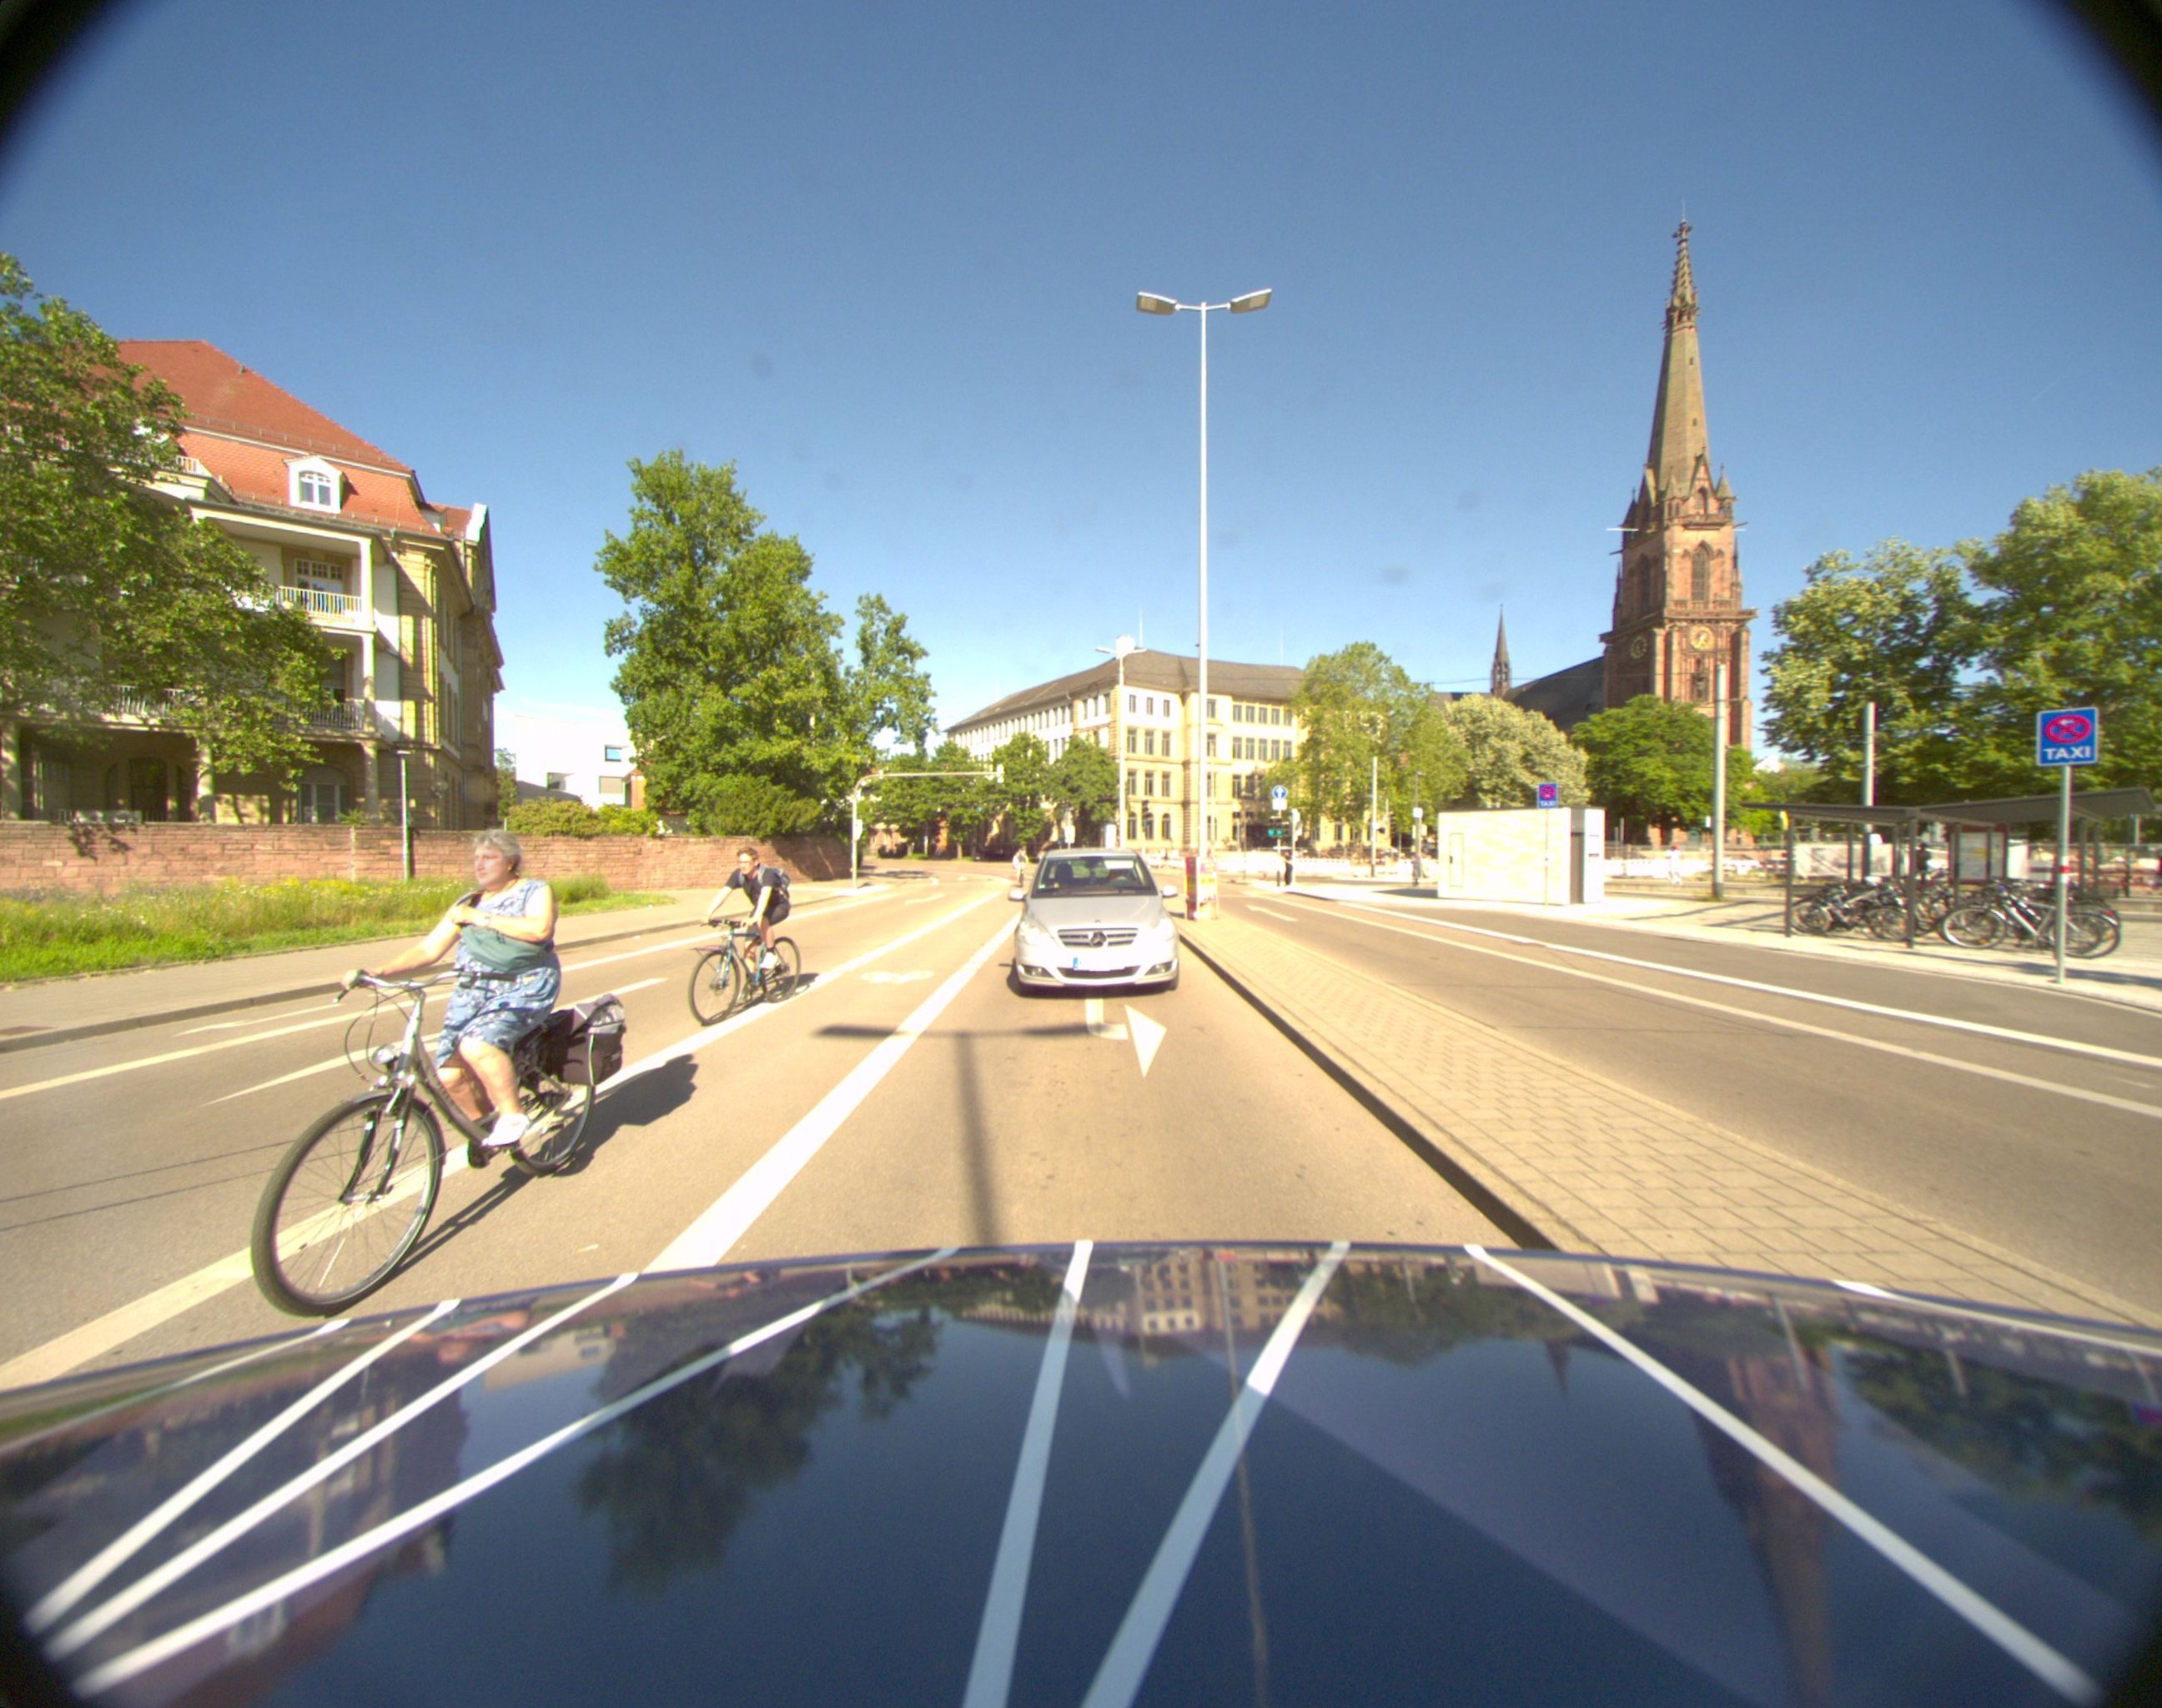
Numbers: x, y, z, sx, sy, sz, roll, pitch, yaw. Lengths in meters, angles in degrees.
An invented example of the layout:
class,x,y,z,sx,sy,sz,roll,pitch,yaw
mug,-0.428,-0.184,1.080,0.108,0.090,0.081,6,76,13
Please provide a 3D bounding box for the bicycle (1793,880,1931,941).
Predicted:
class,x,y,z,sx,sy,sz,roll,pitch,yaw
bicycle,15.092,1.061,14.736,0.569,1.032,1.783,0,1,-37

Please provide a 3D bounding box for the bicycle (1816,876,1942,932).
class,x,y,z,sx,sy,sz,roll,pitch,yaw
bicycle,17.102,1.042,16.322,0.569,1.032,1.783,0,1,-37

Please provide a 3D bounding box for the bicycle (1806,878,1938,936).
class,x,y,z,sx,sy,sz,roll,pitch,yaw
bicycle,16.137,1.045,15.548,0.569,1.032,1.783,0,1,-37

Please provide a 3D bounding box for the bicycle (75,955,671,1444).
class,x,y,z,sx,sy,sz,roll,pitch,yaw
bicycle,-2.612,1.153,3.223,0.642,1.158,1.967,-1,1,0

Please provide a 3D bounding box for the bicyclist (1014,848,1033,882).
class,x,y,z,sx,sy,sz,roll,pitch,yaw
bicyclist,-2.656,0.495,34.952,0.778,1.543,0.919,-1,1,0

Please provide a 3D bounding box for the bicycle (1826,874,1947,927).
class,x,y,z,sx,sy,sz,roll,pitch,yaw
bicycle,18.095,1.015,17.106,0.569,1.032,1.783,0,1,-37

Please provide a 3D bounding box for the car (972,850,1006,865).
class,x,y,z,sx,sy,sz,roll,pitch,yaw
car,-11.442,0.392,94.588,1.994,1.805,3.809,1,1,43

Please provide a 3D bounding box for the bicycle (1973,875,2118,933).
class,x,y,z,sx,sy,sz,roll,pitch,yaw
bicycle,19.731,0.990,15.589,0.569,1.032,1.783,0,1,-37

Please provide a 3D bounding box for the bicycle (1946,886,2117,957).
class,x,y,z,sx,sy,sz,roll,pitch,yaw
bicycle,16.220,1.115,13.024,0.569,1.032,1.783,0,1,-37

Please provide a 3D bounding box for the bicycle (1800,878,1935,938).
class,x,y,z,sx,sy,sz,roll,pitch,yaw
bicycle,15.642,1.047,15.153,0.569,1.032,1.783,0,1,-37

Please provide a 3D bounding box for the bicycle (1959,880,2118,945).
class,x,y,z,sx,sy,sz,roll,pitch,yaw
bicycle,17.702,1.045,14.104,0.569,1.032,1.783,0,1,-37

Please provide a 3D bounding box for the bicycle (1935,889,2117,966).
class,x,y,z,sx,sy,sz,roll,pitch,yaw
bicycle,15.169,1.142,12.261,0.569,1.032,1.783,0,1,-37

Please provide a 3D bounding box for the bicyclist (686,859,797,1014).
class,x,y,z,sx,sy,sz,roll,pitch,yaw
bicyclist,-3.362,0.782,7.610,0.643,1.436,0.953,-1,1,0

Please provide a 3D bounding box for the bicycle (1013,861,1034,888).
class,x,y,z,sx,sy,sz,roll,pitch,yaw
bicycle,-2.647,0.908,34.973,0.778,1.158,1.967,-1,1,0

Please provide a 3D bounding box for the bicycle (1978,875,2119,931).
class,x,y,z,sx,sy,sz,roll,pitch,yaw
bicycle,20.282,0.995,15.972,0.569,1.032,1.783,0,1,-37

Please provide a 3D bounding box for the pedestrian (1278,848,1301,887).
class,x,y,z,sx,sy,sz,roll,pitch,yaw
pedestrian,9.092,0.571,33.123,0.789,1.671,0.648,-2,1,2

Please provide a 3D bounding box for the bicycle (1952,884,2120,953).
class,x,y,z,sx,sy,sz,roll,pitch,yaw
bicycle,16.728,1.098,13.370,0.569,1.032,1.783,0,1,-37

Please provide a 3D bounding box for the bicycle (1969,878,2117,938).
class,x,y,z,sx,sy,sz,roll,pitch,yaw
bicycle,19.188,1.050,15.204,0.569,1.032,1.783,0,1,-37

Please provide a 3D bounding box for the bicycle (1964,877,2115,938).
class,x,y,z,sx,sy,sz,roll,pitch,yaw
bicycle,18.689,1.021,14.862,0.569,1.032,1.783,0,1,-37

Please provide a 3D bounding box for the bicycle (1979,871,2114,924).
class,x,y,z,sx,sy,sz,roll,pitch,yaw
bicycle,21.255,0.937,16.773,0.569,1.032,1.783,0,1,-37

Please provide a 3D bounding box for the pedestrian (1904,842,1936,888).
class,x,y,z,sx,sy,sz,roll,pitch,yaw
pedestrian,30.794,0.409,27.896,0.567,1.645,0.518,-2,1,1

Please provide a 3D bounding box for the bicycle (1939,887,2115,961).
class,x,y,z,sx,sy,sz,roll,pitch,yaw
bicycle,15.685,1.124,12.660,0.569,1.032,1.783,0,1,-37

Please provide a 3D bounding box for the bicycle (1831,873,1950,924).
class,x,y,z,sx,sy,sz,roll,pitch,yaw
bicycle,18.577,1.003,17.471,0.569,1.032,1.783,0,1,-37

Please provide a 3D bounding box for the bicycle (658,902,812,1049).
class,x,y,z,sx,sy,sz,roll,pitch,yaw
bicycle,-3.362,1.124,7.585,0.642,1.158,1.870,-1,0,0

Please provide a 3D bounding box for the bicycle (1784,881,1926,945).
class,x,y,z,sx,sy,sz,roll,pitch,yaw
bicycle,14.491,1.069,14.273,0.569,1.032,1.783,0,1,-37

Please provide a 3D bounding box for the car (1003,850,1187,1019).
class,x,y,z,sx,sy,sz,roll,pitch,yaw
car,0.171,0.779,9.746,1.770,1.584,4.638,-1,1,1

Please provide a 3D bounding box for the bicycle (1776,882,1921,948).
class,x,y,z,sx,sy,sz,roll,pitch,yaw
bicycle,13.969,1.080,13.879,0.569,1.032,1.783,0,1,-37

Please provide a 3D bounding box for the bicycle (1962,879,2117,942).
class,x,y,z,sx,sy,sz,roll,pitch,yaw
bicycle,18.182,1.047,14.470,0.569,1.032,1.783,0,1,-37

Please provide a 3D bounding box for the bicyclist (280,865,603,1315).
class,x,y,z,sx,sy,sz,roll,pitch,yaw
bicyclist,-2.611,0.889,3.209,0.643,1.653,0.776,-1,2,0

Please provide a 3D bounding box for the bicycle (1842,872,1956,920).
class,x,y,z,sx,sy,sz,roll,pitch,yaw
bicycle,19.538,0.978,18.188,0.569,1.032,1.783,0,1,-37

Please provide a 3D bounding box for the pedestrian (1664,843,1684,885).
class,x,y,z,sx,sy,sz,roll,pitch,yaw
pedestrian,24.835,0.436,31.819,0.537,1.712,0.683,-1,-4,30

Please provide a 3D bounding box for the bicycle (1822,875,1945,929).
class,x,y,z,sx,sy,sz,roll,pitch,yaw
bicycle,17.625,1.029,16.737,0.569,1.032,1.783,0,1,-37

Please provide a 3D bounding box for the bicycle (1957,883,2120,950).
class,x,y,z,sx,sy,sz,roll,pitch,yaw
bicycle,17.219,1.087,13.721,0.569,1.032,1.783,0,1,-37

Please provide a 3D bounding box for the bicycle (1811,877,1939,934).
class,x,y,z,sx,sy,sz,roll,pitch,yaw
bicycle,16.613,1.052,15.944,0.569,1.032,1.783,0,1,-37

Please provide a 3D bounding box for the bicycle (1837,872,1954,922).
class,x,y,z,sx,sy,sz,roll,pitch,yaw
bicycle,19.059,0.990,17.820,0.569,1.032,1.783,0,1,-37

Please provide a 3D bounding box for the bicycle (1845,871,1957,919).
class,x,y,z,sx,sy,sz,roll,pitch,yaw
bicycle,20.043,0.976,18.603,0.569,1.032,1.783,0,1,-37
